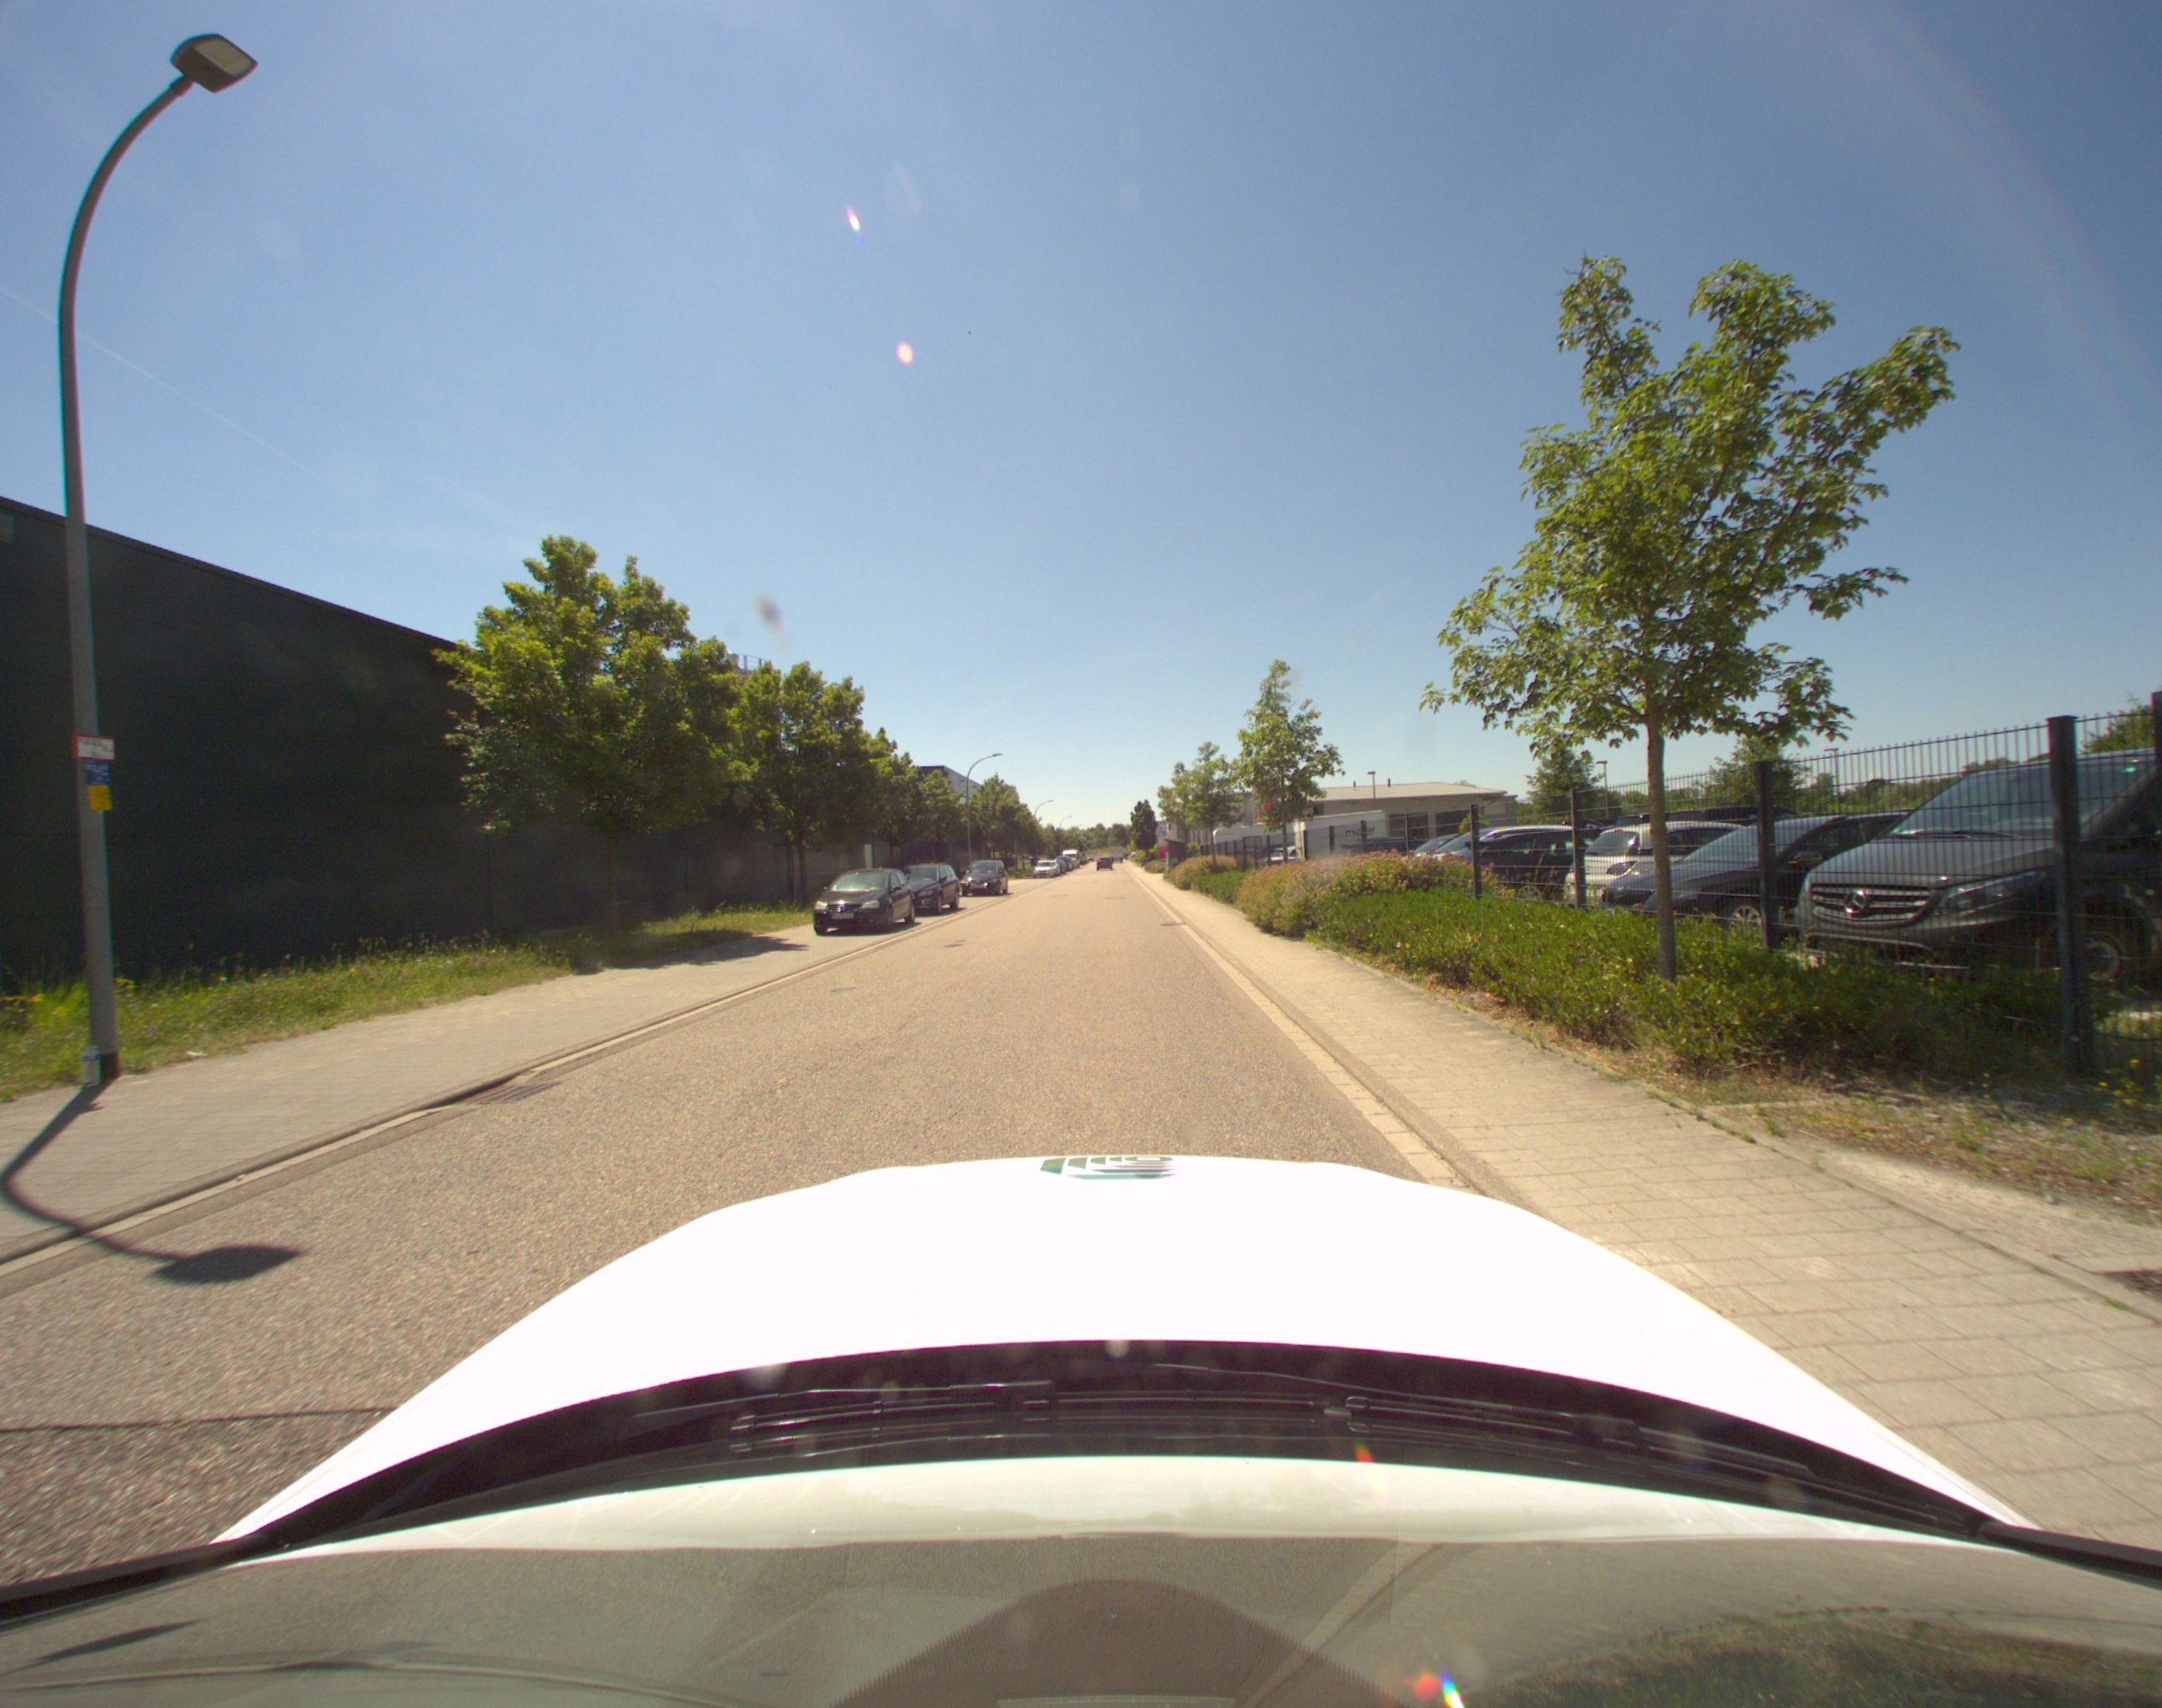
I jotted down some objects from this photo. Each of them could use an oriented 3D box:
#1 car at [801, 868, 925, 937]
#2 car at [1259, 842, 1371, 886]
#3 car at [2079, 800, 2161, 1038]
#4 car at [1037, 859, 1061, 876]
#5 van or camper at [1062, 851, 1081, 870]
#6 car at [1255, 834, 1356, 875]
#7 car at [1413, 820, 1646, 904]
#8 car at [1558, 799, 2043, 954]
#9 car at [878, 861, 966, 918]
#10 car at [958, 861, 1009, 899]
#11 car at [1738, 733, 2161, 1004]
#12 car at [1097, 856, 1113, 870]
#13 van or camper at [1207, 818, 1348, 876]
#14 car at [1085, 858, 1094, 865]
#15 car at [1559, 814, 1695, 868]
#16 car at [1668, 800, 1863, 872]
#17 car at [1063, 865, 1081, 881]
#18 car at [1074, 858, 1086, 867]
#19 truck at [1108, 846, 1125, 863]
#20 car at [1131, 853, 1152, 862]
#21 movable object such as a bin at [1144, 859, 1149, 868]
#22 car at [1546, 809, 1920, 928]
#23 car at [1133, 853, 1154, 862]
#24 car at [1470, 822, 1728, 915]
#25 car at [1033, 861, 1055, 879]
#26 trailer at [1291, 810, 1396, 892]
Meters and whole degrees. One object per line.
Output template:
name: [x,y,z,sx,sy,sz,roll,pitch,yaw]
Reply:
car: [-5.255,1.110,20.238,1.764,1.431,4.203,-2,0,2]
car: [9.199,0.394,32.206,3.830,1.440,1.805,-4,-1,-2]
car: [8.502,0.269,4.306,4.200,1.422,1.765,-3,-1,1]
car: [-2.901,1.240,75.544,1.792,1.476,4.558,-2,0,3]
van or camper: [-1.249,0.875,111.576,2.069,2.483,6.138,0,0,5]
car: [10.276,0.027,37.508,4.122,1.536,1.809,-4,-1,1]
car: [9.560,0.177,17.596,3.972,1.522,1.823,-3,-1,1]
car: [8.405,0.253,9.796,4.329,1.449,1.603,-4,-1,1]
car: [-5.060,1.077,26.579,1.764,1.611,4.853,-2,0,1]
car: [-4.486,1.154,38.108,1.764,1.611,4.248,-2,0,1]
car: [8.913,-0.001,6.866,5.095,1.873,1.903,-4,-1,1]
car: [2.718,1.011,92.529,1.782,1.623,3.811,0,0,2]
van or camper: [10.207,-0.352,42.797,6.733,2.585,2.636,-3,-1,1]
car: [2.081,1.822,188.841,1.791,1.487,4.257,-2,0,4]
car: [21.507,-0.492,32.219,4.027,1.806,1.919,-3,-1,1]
car: [19.982,-0.503,23.911,4.027,1.800,1.919,-3,-1,1]
car: [-0.999,2.181,94.400,1.792,1.814,4.254,-2,0,2]
car: [-0.133,1.393,139.072,1.791,1.487,4.257,-2,0,4]
truck: [6.267,0.117,142.584,2.921,2.974,6.423,0,0,3]
car: [11.880,0.656,160.127,3.863,1.750,1.751,0,-1,-1]
movable object such as a bin: [8.012,1.145,99.407,0.529,1.052,0.846,-3,-1,4]
car: [9.824,0.215,12.535,4.264,1.445,1.755,-4,-1,1]
car: [12.081,0.639,157.670,3.863,1.750,1.751,0,-1,-1]
car: [9.390,0.255,14.972,3.651,1.422,1.645,-3,-1,1]
car: [-3.174,1.357,70.284,1.715,1.476,3.857,-2,0,0]
trailer: [8.494,-0.098,26.532,2.815,2.403,1.418,-4,0,-2]
